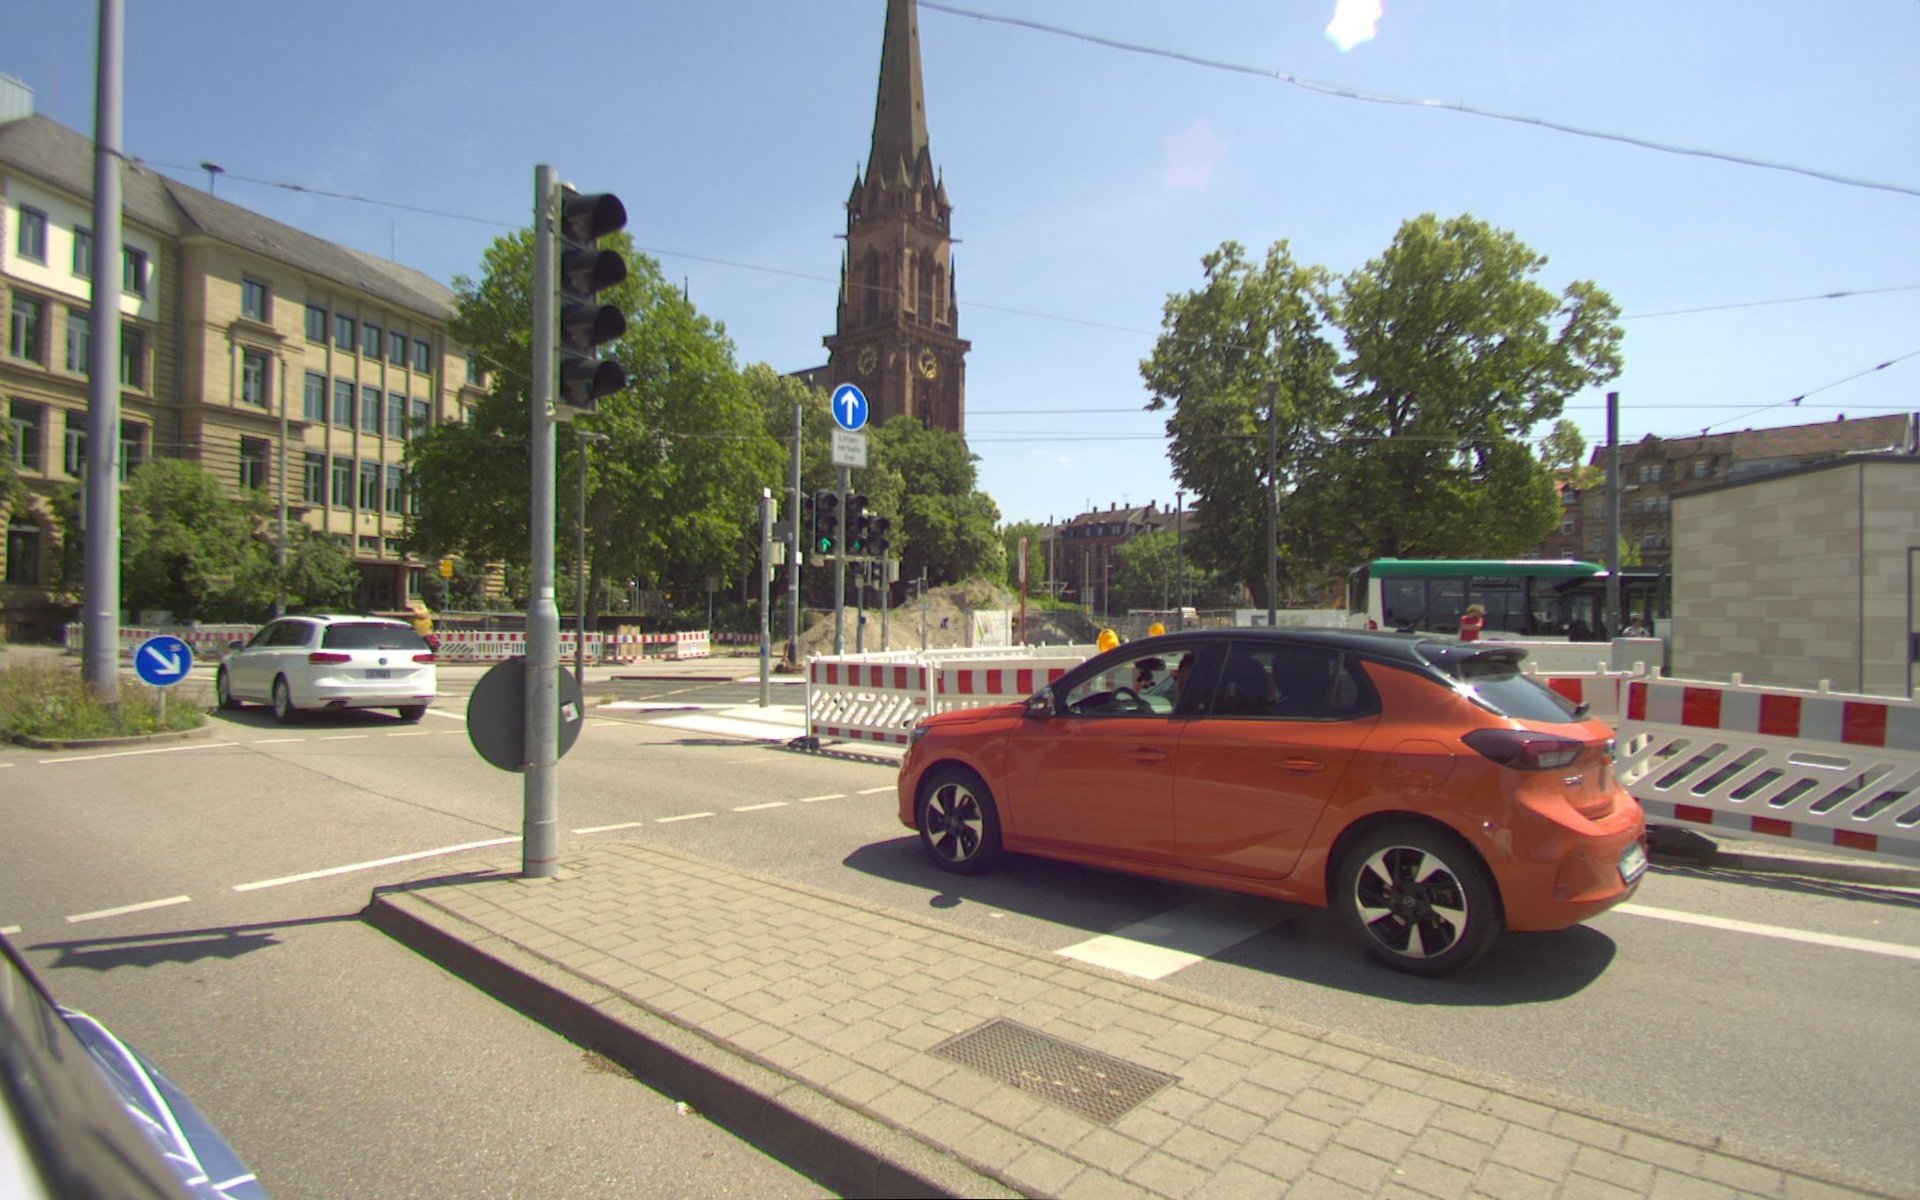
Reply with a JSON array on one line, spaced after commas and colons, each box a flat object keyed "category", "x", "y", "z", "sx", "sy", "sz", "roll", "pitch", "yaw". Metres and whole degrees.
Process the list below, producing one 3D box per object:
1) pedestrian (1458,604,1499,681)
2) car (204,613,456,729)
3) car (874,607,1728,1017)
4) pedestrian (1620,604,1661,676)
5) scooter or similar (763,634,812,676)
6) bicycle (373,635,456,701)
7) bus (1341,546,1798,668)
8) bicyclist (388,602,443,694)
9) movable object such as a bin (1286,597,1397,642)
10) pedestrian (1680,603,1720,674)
[{"category": "pedestrian", "x": 11.740, "y": 0.956, "z": 22.929, "sx": 0.556, "sy": 1.714, "sz": 0.582, "roll": -1, "pitch": 0, "yaw": -13}, {"category": "car", "x": -9.231, "y": 0.955, "z": 14.684, "sx": 4.424, "sy": 1.439, "sz": 1.797, "roll": -1, "pitch": -3, "yaw": 40}, {"category": "car", "x": 1.525, "y": 0.775, "z": 5.433, "sx": 4.013, "sy": 1.388, "sz": 1.670, "roll": -1, "pitch": -3, "yaw": 43}, {"category": "pedestrian", "x": 16.006, "y": 0.934, "z": 23.814, "sx": 0.539, "sy": 1.667, "sz": 0.626, "roll": -1, "pitch": 0, "yaw": 2}, {"category": "scooter or similar", "x": -4.525, "y": 1.431, "z": 26.540, "sx": 1.445, "sy": 1.068, "sz": 0.335, "roll": -1, "pitch": 0, "yaw": 36}, {"category": "bicycle", "x": -10.239, "y": 1.254, "z": 18.978, "sx": 2.007, "sy": 1.159, "sz": 0.582, "roll": -1, "pitch": -4, "yaw": 39}, {"category": "bus", "x": 16.407, "y": 0.212, "z": 28.049, "sx": 10.479, "sy": 3.076, "sz": 2.849, "roll": -1, "pitch": 0, "yaw": 8}, {"category": "bicyclist", "x": -10.194, "y": 0.890, "z": 18.957, "sx": 0.798, "sy": 1.678, "sz": 0.580, "roll": -1, "pitch": -3, "yaw": 38}, {"category": "movable object such as a bin", "x": 30.334, "y": 1.492, "z": 80.606, "sx": 7.947, "sy": 3.414, "sz": 2.878, "roll": -1, "pitch": 0, "yaw": 31}, {"category": "pedestrian", "x": 17.337, "y": 0.894, "z": 23.722, "sx": 0.513, "sy": 1.632, "sz": 0.537, "roll": -1, "pitch": 0, "yaw": 2}]
